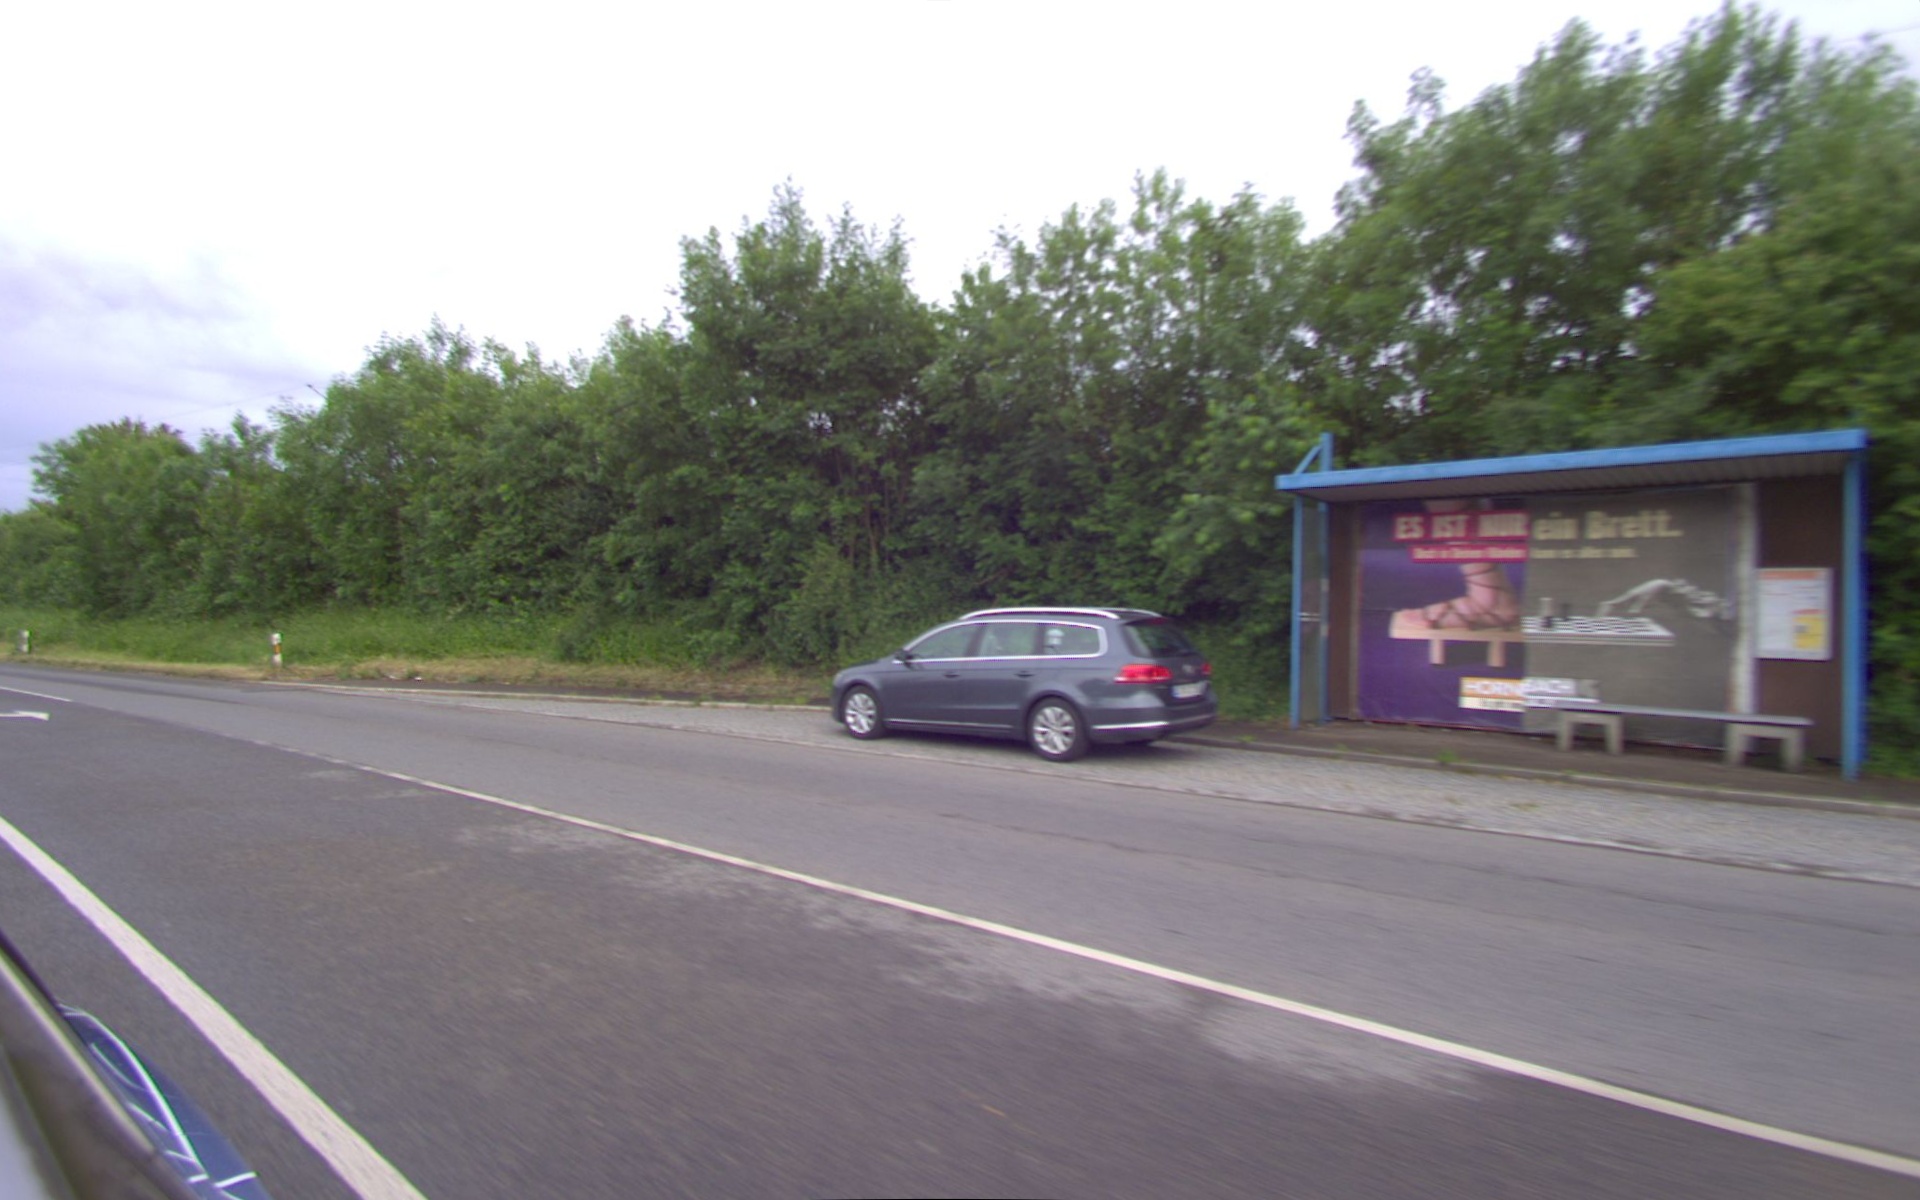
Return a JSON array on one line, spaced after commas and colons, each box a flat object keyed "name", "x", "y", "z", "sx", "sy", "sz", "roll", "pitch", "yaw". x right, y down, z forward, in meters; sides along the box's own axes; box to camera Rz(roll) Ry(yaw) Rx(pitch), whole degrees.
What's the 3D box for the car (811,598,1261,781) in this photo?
[{"name": "car", "x": 0.660, "y": 0.779, "z": 11.107, "sx": 4.698, "sy": 1.485, "sz": 1.973, "roll": 1, "pitch": 2, "yaw": 41}]
